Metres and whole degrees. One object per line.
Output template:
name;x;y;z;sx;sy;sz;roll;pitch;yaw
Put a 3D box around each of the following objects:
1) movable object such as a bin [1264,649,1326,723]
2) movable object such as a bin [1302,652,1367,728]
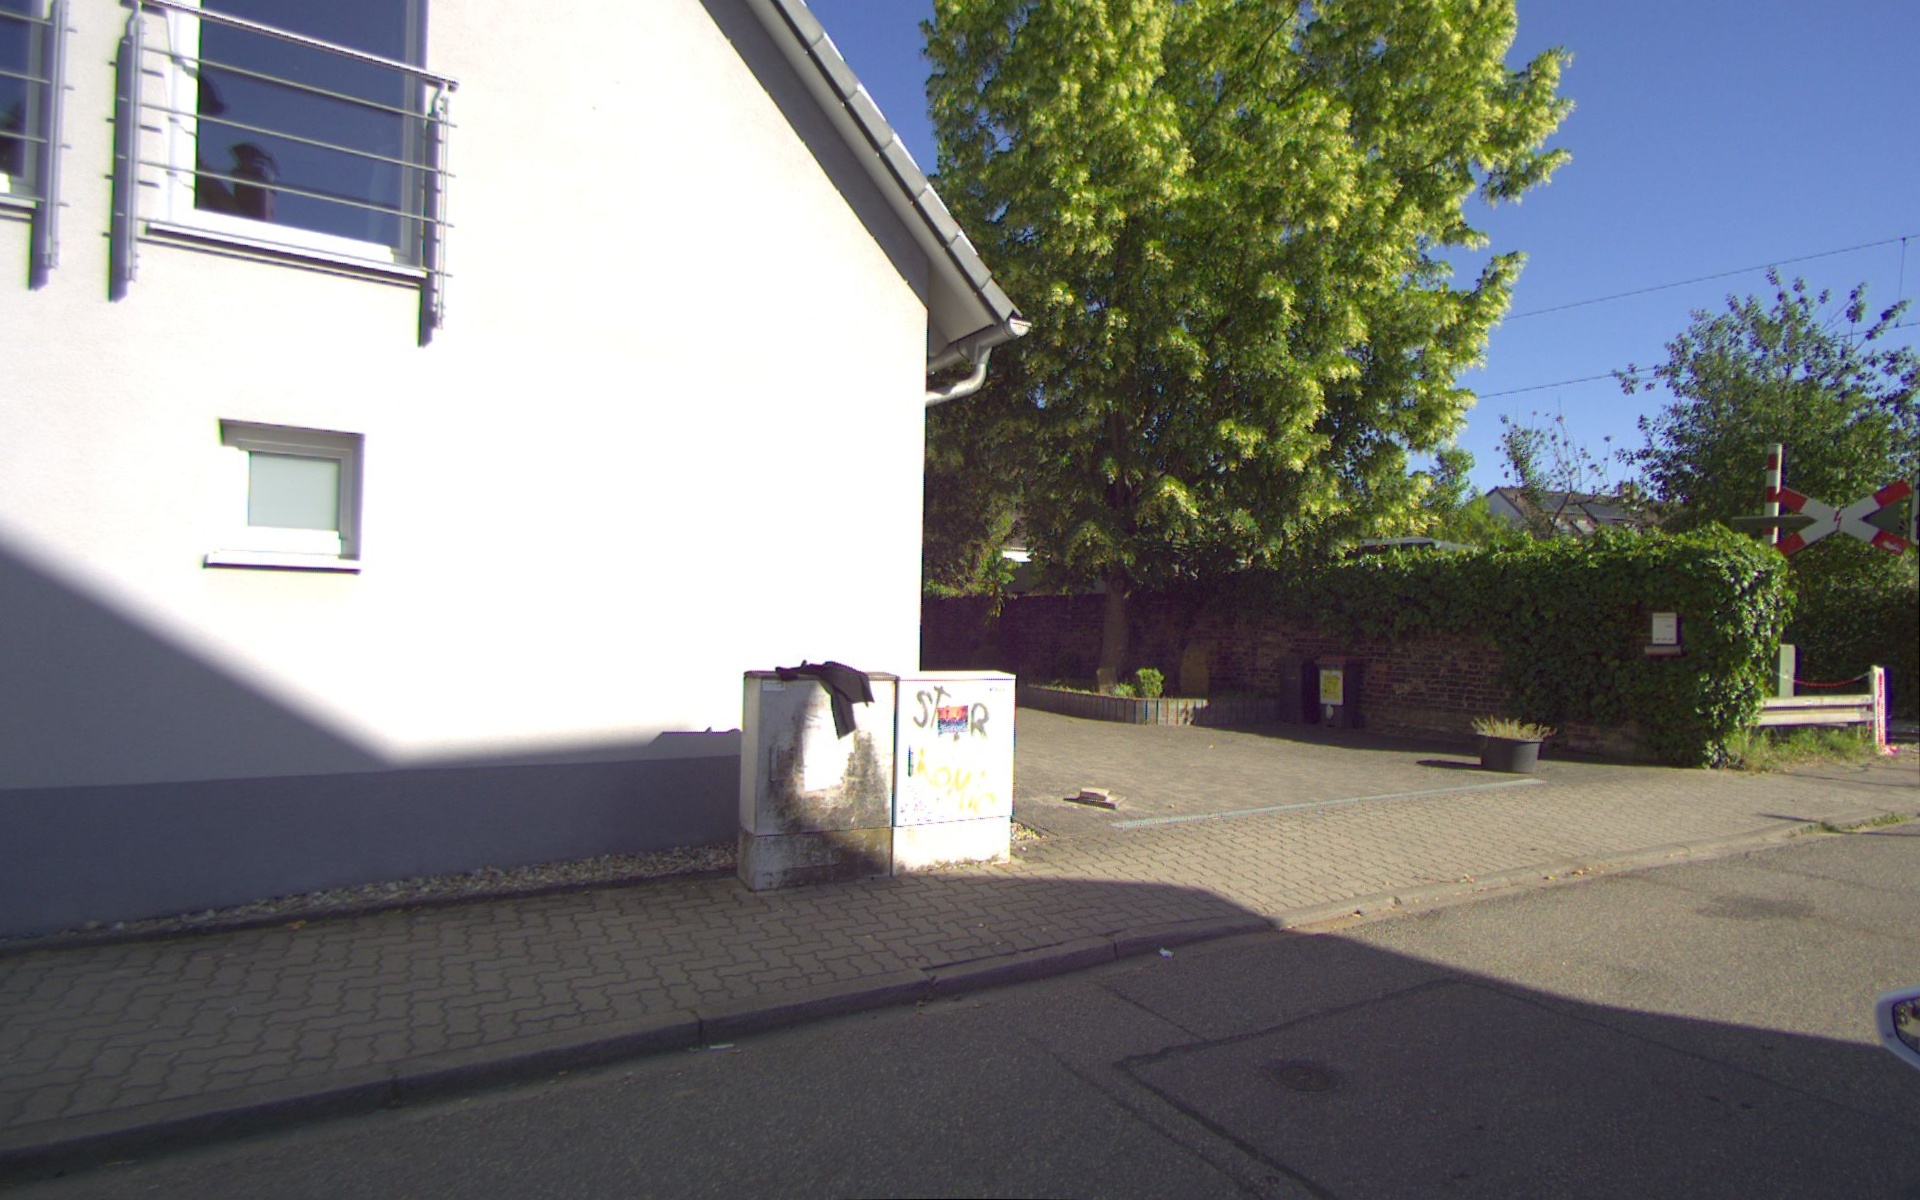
movable object such as a bin;4.576;1.170;13.740;0.501;0.946;0.588;3;-1;-25
movable object such as a bin;4.929;1.174;13.233;0.501;0.946;0.588;3;-1;-25
